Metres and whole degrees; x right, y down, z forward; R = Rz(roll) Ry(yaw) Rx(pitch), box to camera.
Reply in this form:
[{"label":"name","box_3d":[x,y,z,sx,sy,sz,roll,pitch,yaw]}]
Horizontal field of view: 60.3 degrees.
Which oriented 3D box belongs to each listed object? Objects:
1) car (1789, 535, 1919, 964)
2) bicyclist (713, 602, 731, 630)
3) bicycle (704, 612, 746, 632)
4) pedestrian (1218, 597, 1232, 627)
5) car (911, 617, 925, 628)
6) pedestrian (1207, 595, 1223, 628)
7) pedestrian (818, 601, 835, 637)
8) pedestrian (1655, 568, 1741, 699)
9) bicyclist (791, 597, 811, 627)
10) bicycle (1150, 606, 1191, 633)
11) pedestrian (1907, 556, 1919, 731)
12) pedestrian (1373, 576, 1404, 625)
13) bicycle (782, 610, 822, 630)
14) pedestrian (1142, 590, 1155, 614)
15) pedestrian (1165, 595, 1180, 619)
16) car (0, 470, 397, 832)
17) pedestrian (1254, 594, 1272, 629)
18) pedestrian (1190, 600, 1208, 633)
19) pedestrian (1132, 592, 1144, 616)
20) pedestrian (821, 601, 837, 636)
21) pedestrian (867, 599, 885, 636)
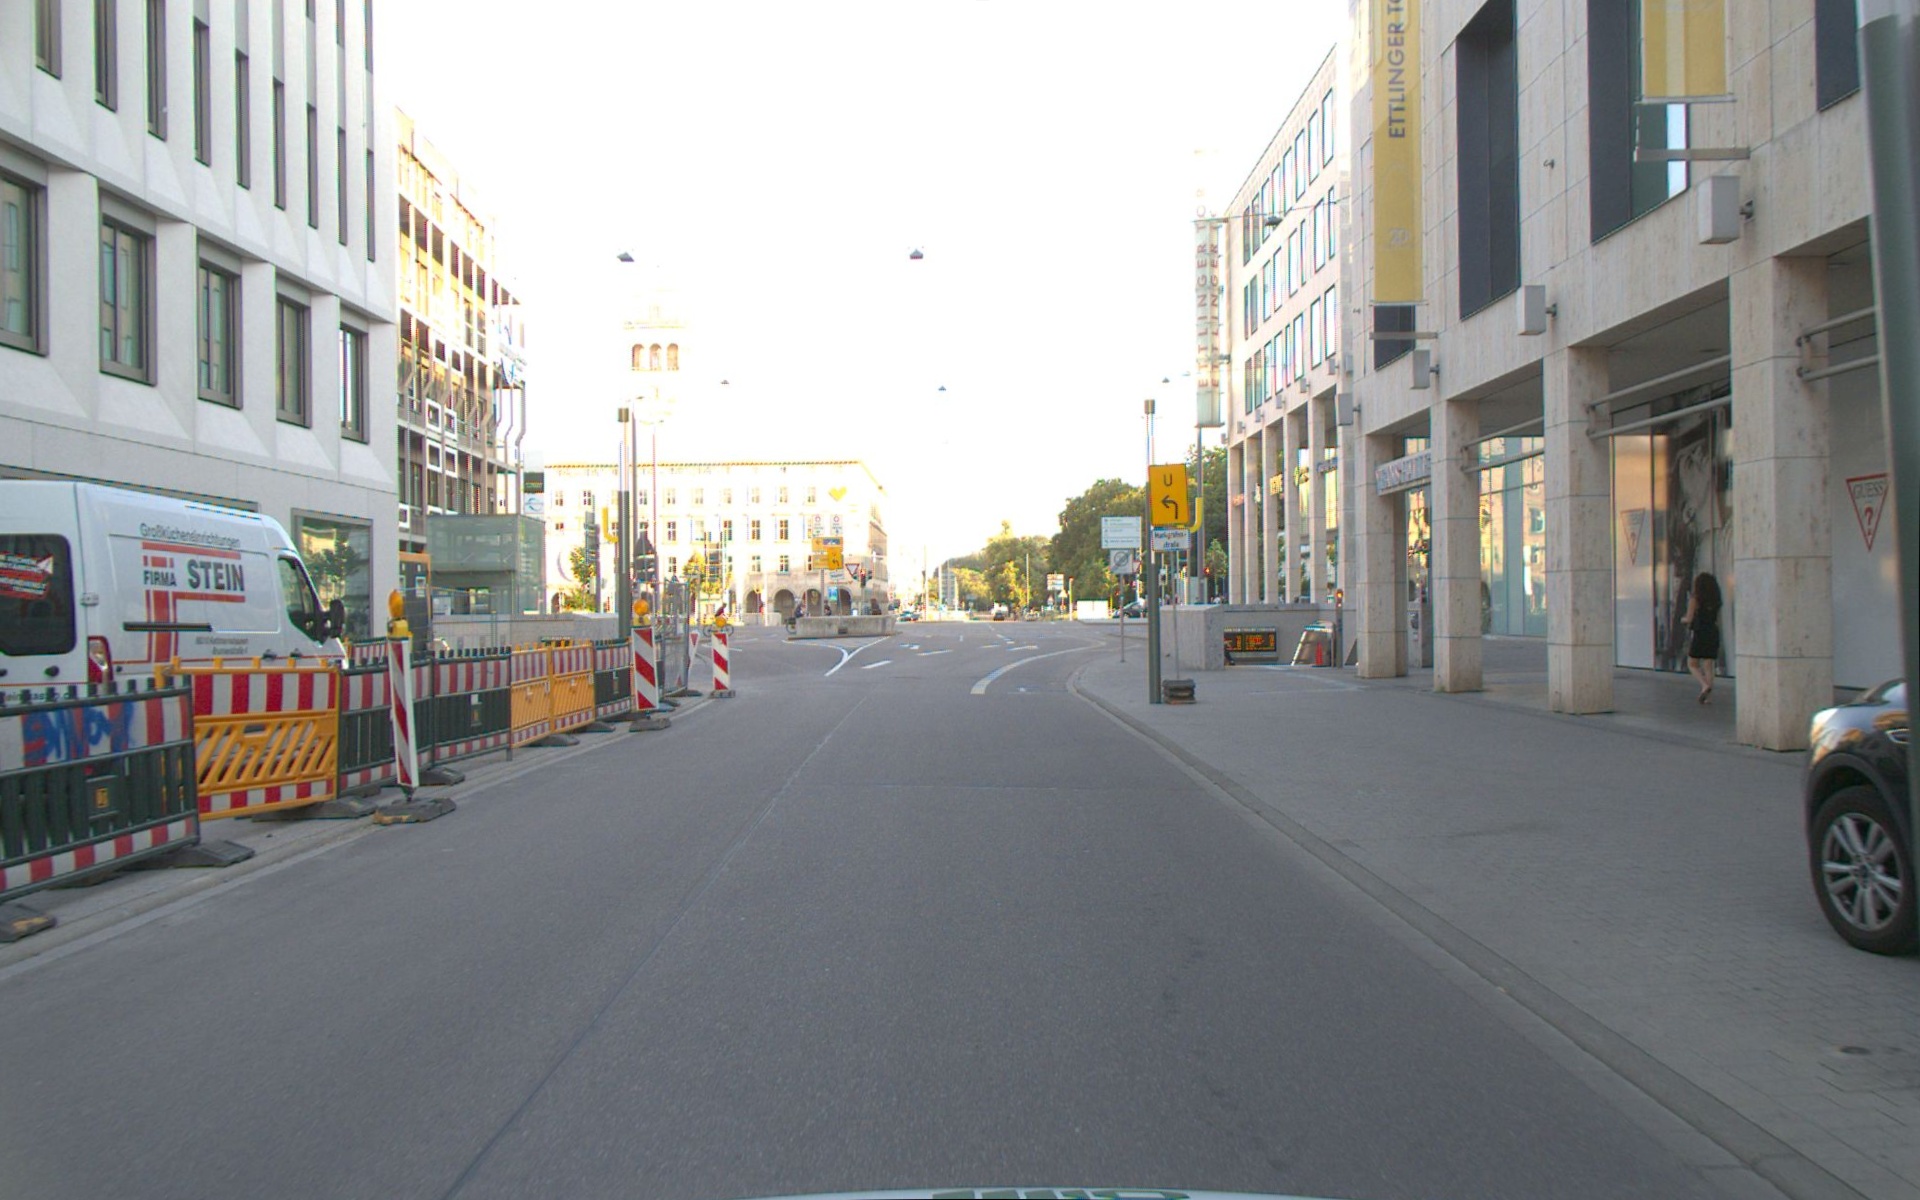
[{"label":"car","box_3d":[4.537,0.516,5.201,1.732,1.666,4.057,-4,0,0]},{"label":"bicyclist","box_3d":[-13.135,0.878,91.427,0.861,1.557,0.653,-1,0,2]},{"label":"bicycle","box_3d":[-12.991,1.214,91.423,2.195,1.080,0.653,-1,0,2]},{"label":"pedestrian","box_3d":[15.710,0.729,98.098,0.677,1.760,0.741,-1,0,2]},{"label":"car","box_3d":[-6.574,3.521,258.170,1.952,1.545,4.001,-1,0,2]},{"label":"pedestrian","box_3d":[14.470,0.644,93.837,0.740,1.808,0.741,-3,0,1]},{"label":"pedestrian","box_3d":[-6.933,0.981,85.793,0.723,1.808,0.863,-3,0,-3]},{"label":"pedestrian","box_3d":[9.043,0.407,20.293,0.709,1.569,0.728,0,-1,-1]},{"label":"bicyclist","box_3d":[-8.862,0.670,92.185,0.999,1.649,0.653,-1,0,0]},{"label":"bicycle","box_3d":[9.765,0.917,76.776,1.779,1.233,0.571,-1,0,16]},{"label":"pedestrian","box_3d":[9.085,0.401,14.928,0.621,1.595,0.775,-1,1,-1]},{"label":"pedestrian","box_3d":[16.312,0.020,62.919,0.843,1.808,0.990,-2,0,-1]},{"label":"bicycle","box_3d":[-8.802,1.128,92.182,2.196,1.080,0.653,-1,0,0]},{"label":"pedestrian","box_3d":[13.808,0.148,121.340,0.793,1.760,0.686,-1,0,-11]},{"label":"pedestrian","box_3d":[15.599,0.521,121.501,0.800,1.760,0.681,-1,0,-30]},{"label":"car","box_3d":[-7.026,0.369,14.515,2.129,2.513,5.998,-1,0,0]},{"label":"pedestrian","box_3d":[16.384,0.636,89.451,0.874,1.872,0.688,-1,0,3]},{"label":"pedestrian","box_3d":[13.583,0.934,94.113,0.843,1.808,0.741,-3,0,1]},{"label":"pedestrian","box_3d":[13.029,0.290,120.948,0.792,1.760,0.688,-1,0,-2]},{"label":"pedestrian","box_3d":[-6.868,0.956,86.842,0.723,1.808,0.863,-3,0,-2]},{"label":"pedestrian","box_3d":[-4.245,0.882,83.412,0.724,1.808,0.862,-2,0,-8]}]
